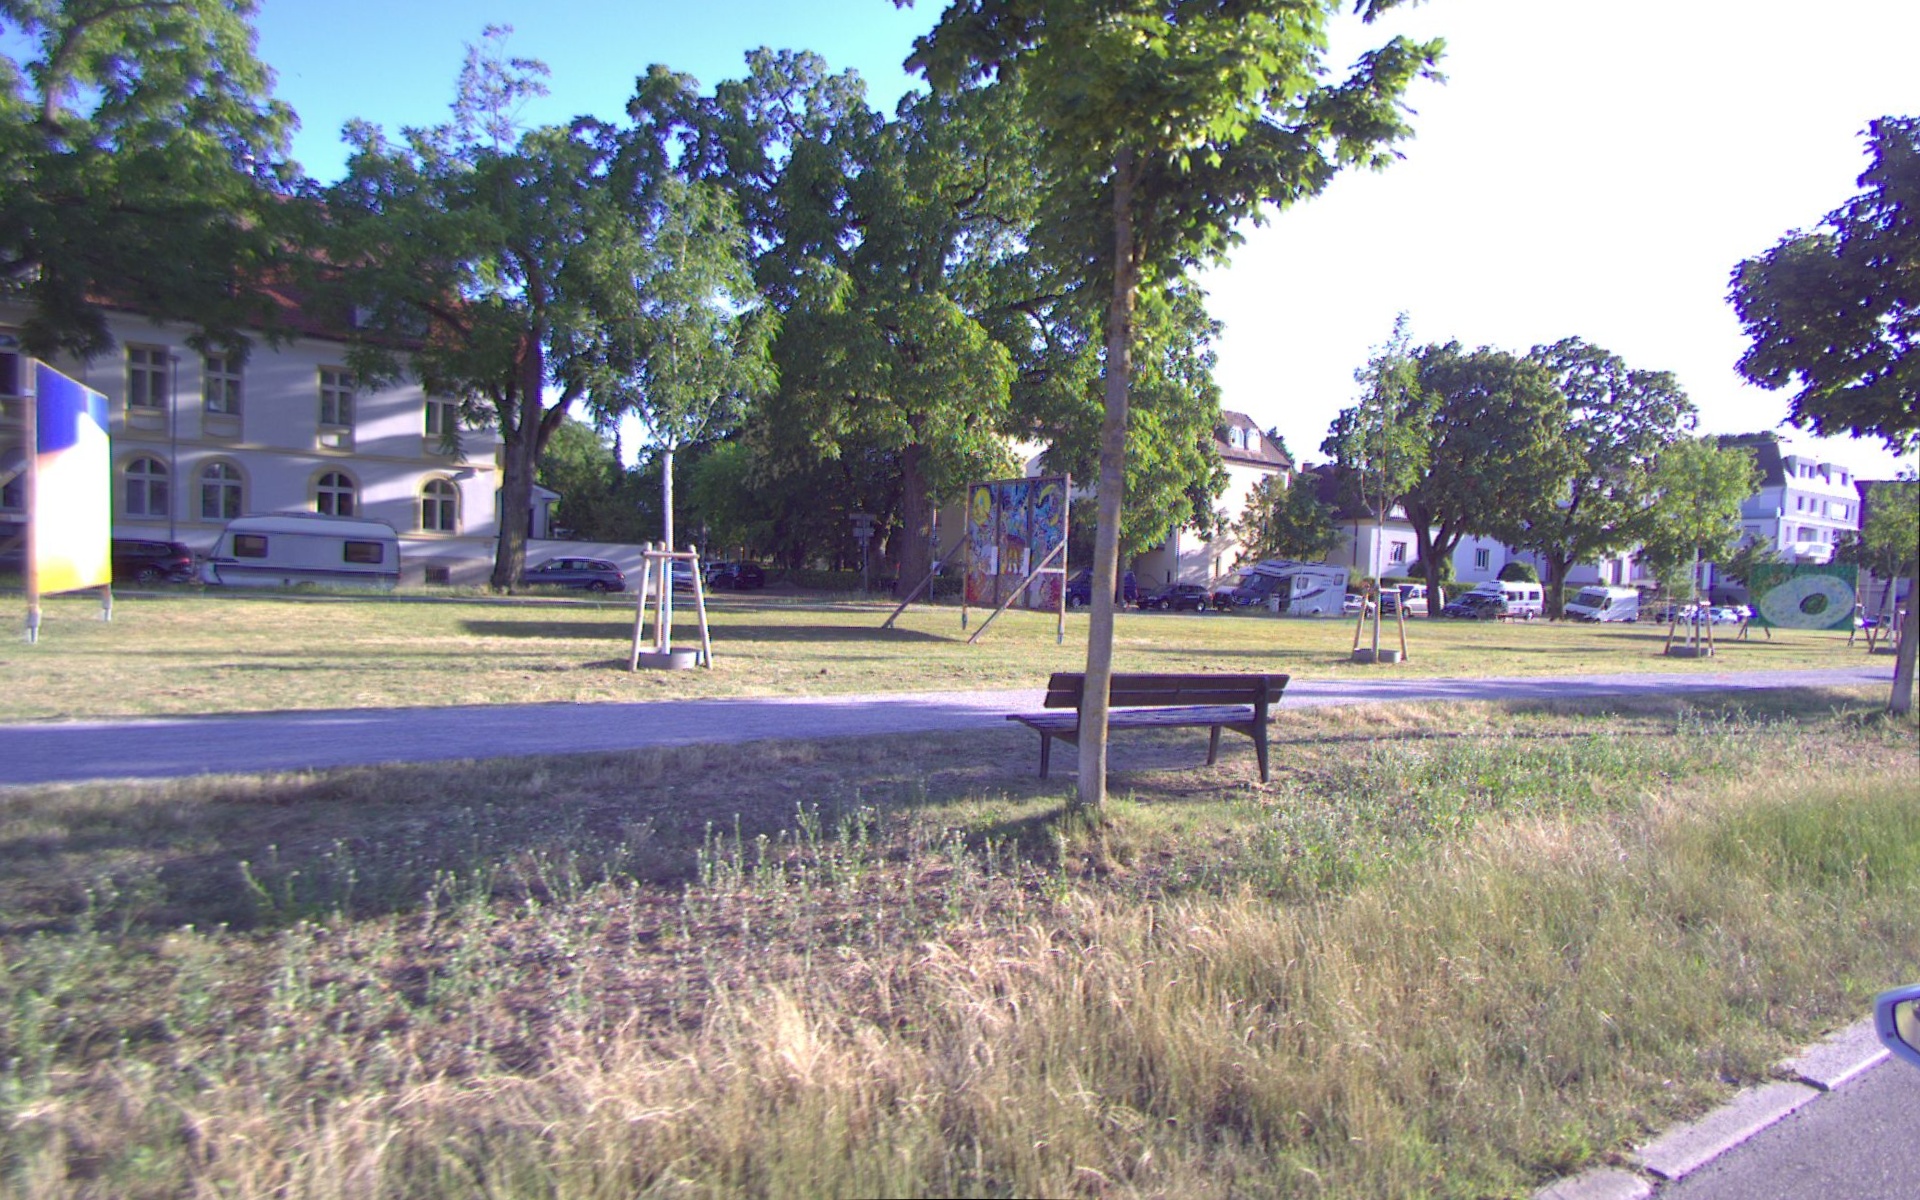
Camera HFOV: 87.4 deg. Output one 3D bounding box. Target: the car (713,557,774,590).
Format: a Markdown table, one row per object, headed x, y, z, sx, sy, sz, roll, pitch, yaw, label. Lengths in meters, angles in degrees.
| x | y | z | sx | sy | sz | roll | pitch | yaw | label |
| --- | --- | --- | --- | --- | --- | --- | --- | --- | --- |
| -12.553 | -1.560 | 58.135 | 2.156 | 1.703 | 4.110 | 2 | 2 | -32 | car |

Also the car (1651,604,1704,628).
| x | y | z | sx | sy | sz | roll | pitch | yaw | label |
| --- | --- | --- | --- | --- | --- | --- | --- | --- | --- |
| 57.273 | 1.315 | 80.201 | 4.614 | 1.725 | 1.773 | 3 | -2 | -31 | car |

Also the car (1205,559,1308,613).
| x | y | z | sx | sy | sz | roll | pitch | yaw | label |
| --- | --- | --- | --- | --- | --- | --- | --- | --- | --- |
| 16.599 | -0.729 | 56.118 | 6.021 | 2.631 | 1.984 | 3 | -2 | -31 | car |

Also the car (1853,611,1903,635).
| x | y | z | sx | sy | sz | roll | pitch | yaw | label |
| --- | --- | --- | --- | --- | --- | --- | --- | --- | --- |
| 78.994 | 1.994 | 86.401 | 4.638 | 1.852 | 1.919 | 3 | -2 | -31 | car |

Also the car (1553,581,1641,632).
| x | y | z | sx | sy | sz | roll | pitch | yaw | label |
| --- | --- | --- | --- | --- | --- | --- | --- | --- | --- |
| 39.794 | 0.458 | 62.687 | 5.803 | 2.863 | 2.250 | 3 | -2 | -30 | car |

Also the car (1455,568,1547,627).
| x | y | z | sx | sy | sz | roll | pitch | yaw | label |
| --- | --- | --- | --- | --- | --- | --- | --- | --- | --- |
| 36.228 | -0.114 | 67.221 | 6.687 | 3.605 | 2.292 | 3 | -2 | -31 | car |

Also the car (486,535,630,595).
| x | y | z | sx | sy | sz | roll | pitch | yaw | label |
| --- | --- | --- | --- | --- | --- | --- | --- | --- | --- |
| -14.682 | -1.266 | 36.705 | 4.658 | 1.938 | 1.881 | 1 | 2 | -30 | car |

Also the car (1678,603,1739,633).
| x | y | z | sx | sy | sz | roll | pitch | yaw | label |
| --- | --- | --- | --- | --- | --- | --- | --- | --- | --- |
| 52.868 | 1.268 | 70.918 | 4.588 | 1.924 | 1.825 | 3 | -2 | -30 | car |

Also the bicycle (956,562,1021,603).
| x | y | z | sx | sy | sz | roll | pitch | yaw | label |
| --- | --- | --- | --- | --- | --- | --- | --- | --- | --- |
| 1.035 | -0.608 | 35.757 | 2.301 | 1.360 | 0.508 | 2 | 2 | -28 | bicycle |

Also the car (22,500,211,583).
| x | y | z | sx | sy | sz | roll | pitch | yaw | label |
| --- | --- | --- | --- | --- | --- | --- | --- | --- | --- |
| -24.929 | -1.705 | 29.890 | 3.953 | 2.183 | 1.984 | 1 | 2 | -30 | car |

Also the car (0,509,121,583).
| x | y | z | sx | sy | sz | roll | pitch | yaw | label |
| --- | --- | --- | --- | --- | --- | --- | --- | --- | --- |
| -23.723 | -1.389 | 24.347 | 4.897 | 1.664 | 1.982 | 2 | 3 | -32 | car |

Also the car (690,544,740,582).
| x | y | z | sx | sy | sz | roll | pitch | yaw | label |
| --- | --- | --- | --- | --- | --- | --- | --- | --- | --- |
| -15.248 | -2.311 | 62.336 | 1.850 | 2.152 | 3.964 | 2 | 2 | -32 | car |

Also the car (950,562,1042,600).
| x | y | z | sx | sy | sz | roll | pitch | yaw | label |
| --- | --- | --- | --- | --- | --- | --- | --- | --- | --- |
| 1.677 | -0.874 | 46.733 | 3.768 | 1.563 | 1.982 | 2 | 2 | -32 | car |

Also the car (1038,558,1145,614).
| x | y | z | sx | sy | sz | roll | pitch | yaw | label |
| --- | --- | --- | --- | --- | --- | --- | --- | --- | --- |
| 6.512 | -0.636 | 49.469 | 5.057 | 2.450 | 1.928 | 3 | -2 | -30 | car |

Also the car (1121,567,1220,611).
| x | y | z | sx | sy | sz | roll | pitch | yaw | label |
| --- | --- | --- | --- | --- | --- | --- | --- | --- | --- |
| 11.010 | -0.572 | 52.421 | 4.990 | 2.031 | 1.960 | 2 | 2 | -30 | car |

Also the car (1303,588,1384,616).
| x | y | z | sx | sy | sz | roll | pitch | yaw | label |
| --- | --- | --- | --- | --- | --- | --- | --- | --- | --- |
| 22.739 | 0.156 | 59.551 | 4.503 | 1.421 | 1.986 | 3 | -2 | -27 | car |

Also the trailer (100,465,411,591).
| x | y | z | sx | sy | sz | roll | pitch | yaw | label |
| --- | --- | --- | --- | --- | --- | --- | --- | --- | --- |
| -18.694 | -1.785 | 27.211 | 6.562 | 2.694 | 2.460 | 3 | -2 | -32 | trailer |

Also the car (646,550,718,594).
| x | y | z | sx | sy | sz | roll | pitch | yaw | label |
| --- | --- | --- | --- | --- | --- | --- | --- | --- | --- |
| -13.471 | -1.384 | 48.488 | 1.961 | 1.925 | 4.482 | 1 | 2 | -34 | car |

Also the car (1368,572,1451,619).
| x | y | z | sx | sy | sz | roll | pitch | yaw | label |
| --- | --- | --- | --- | --- | --- | --- | --- | --- | --- |
| 27.956 | -0.233 | 62.415 | 5.268 | 2.638 | 2.124 | 3 | -2 | -33 | car |

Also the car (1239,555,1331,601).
| x | y | z | sx | sy | sz | roll | pitch | yaw | label |
| --- | --- | --- | --- | --- | --- | --- | --- | --- | --- |
| 15.517 | -1.045 | 47.940 | 3.953 | 2.041 | 1.984 | 1 | 2 | -30 | car |

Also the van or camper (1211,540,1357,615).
| x | y | z | sx | sy | sz | roll | pitch | yaw | label |
| --- | --- | --- | --- | --- | --- | --- | --- | --- | --- |
| 15.517 | -1.045 | 47.940 | 6.823 | 3.306 | 2.629 | 1 | 2 | -30 | van or camper |

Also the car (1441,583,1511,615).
| x | y | z | sx | sy | sz | roll | pitch | yaw | label |
| --- | --- | --- | --- | --- | --- | --- | --- | --- | --- |
| 28.631 | -0.049 | 55.657 | 4.262 | 1.585 | 1.406 | 2 | 2 | -32 | car |
